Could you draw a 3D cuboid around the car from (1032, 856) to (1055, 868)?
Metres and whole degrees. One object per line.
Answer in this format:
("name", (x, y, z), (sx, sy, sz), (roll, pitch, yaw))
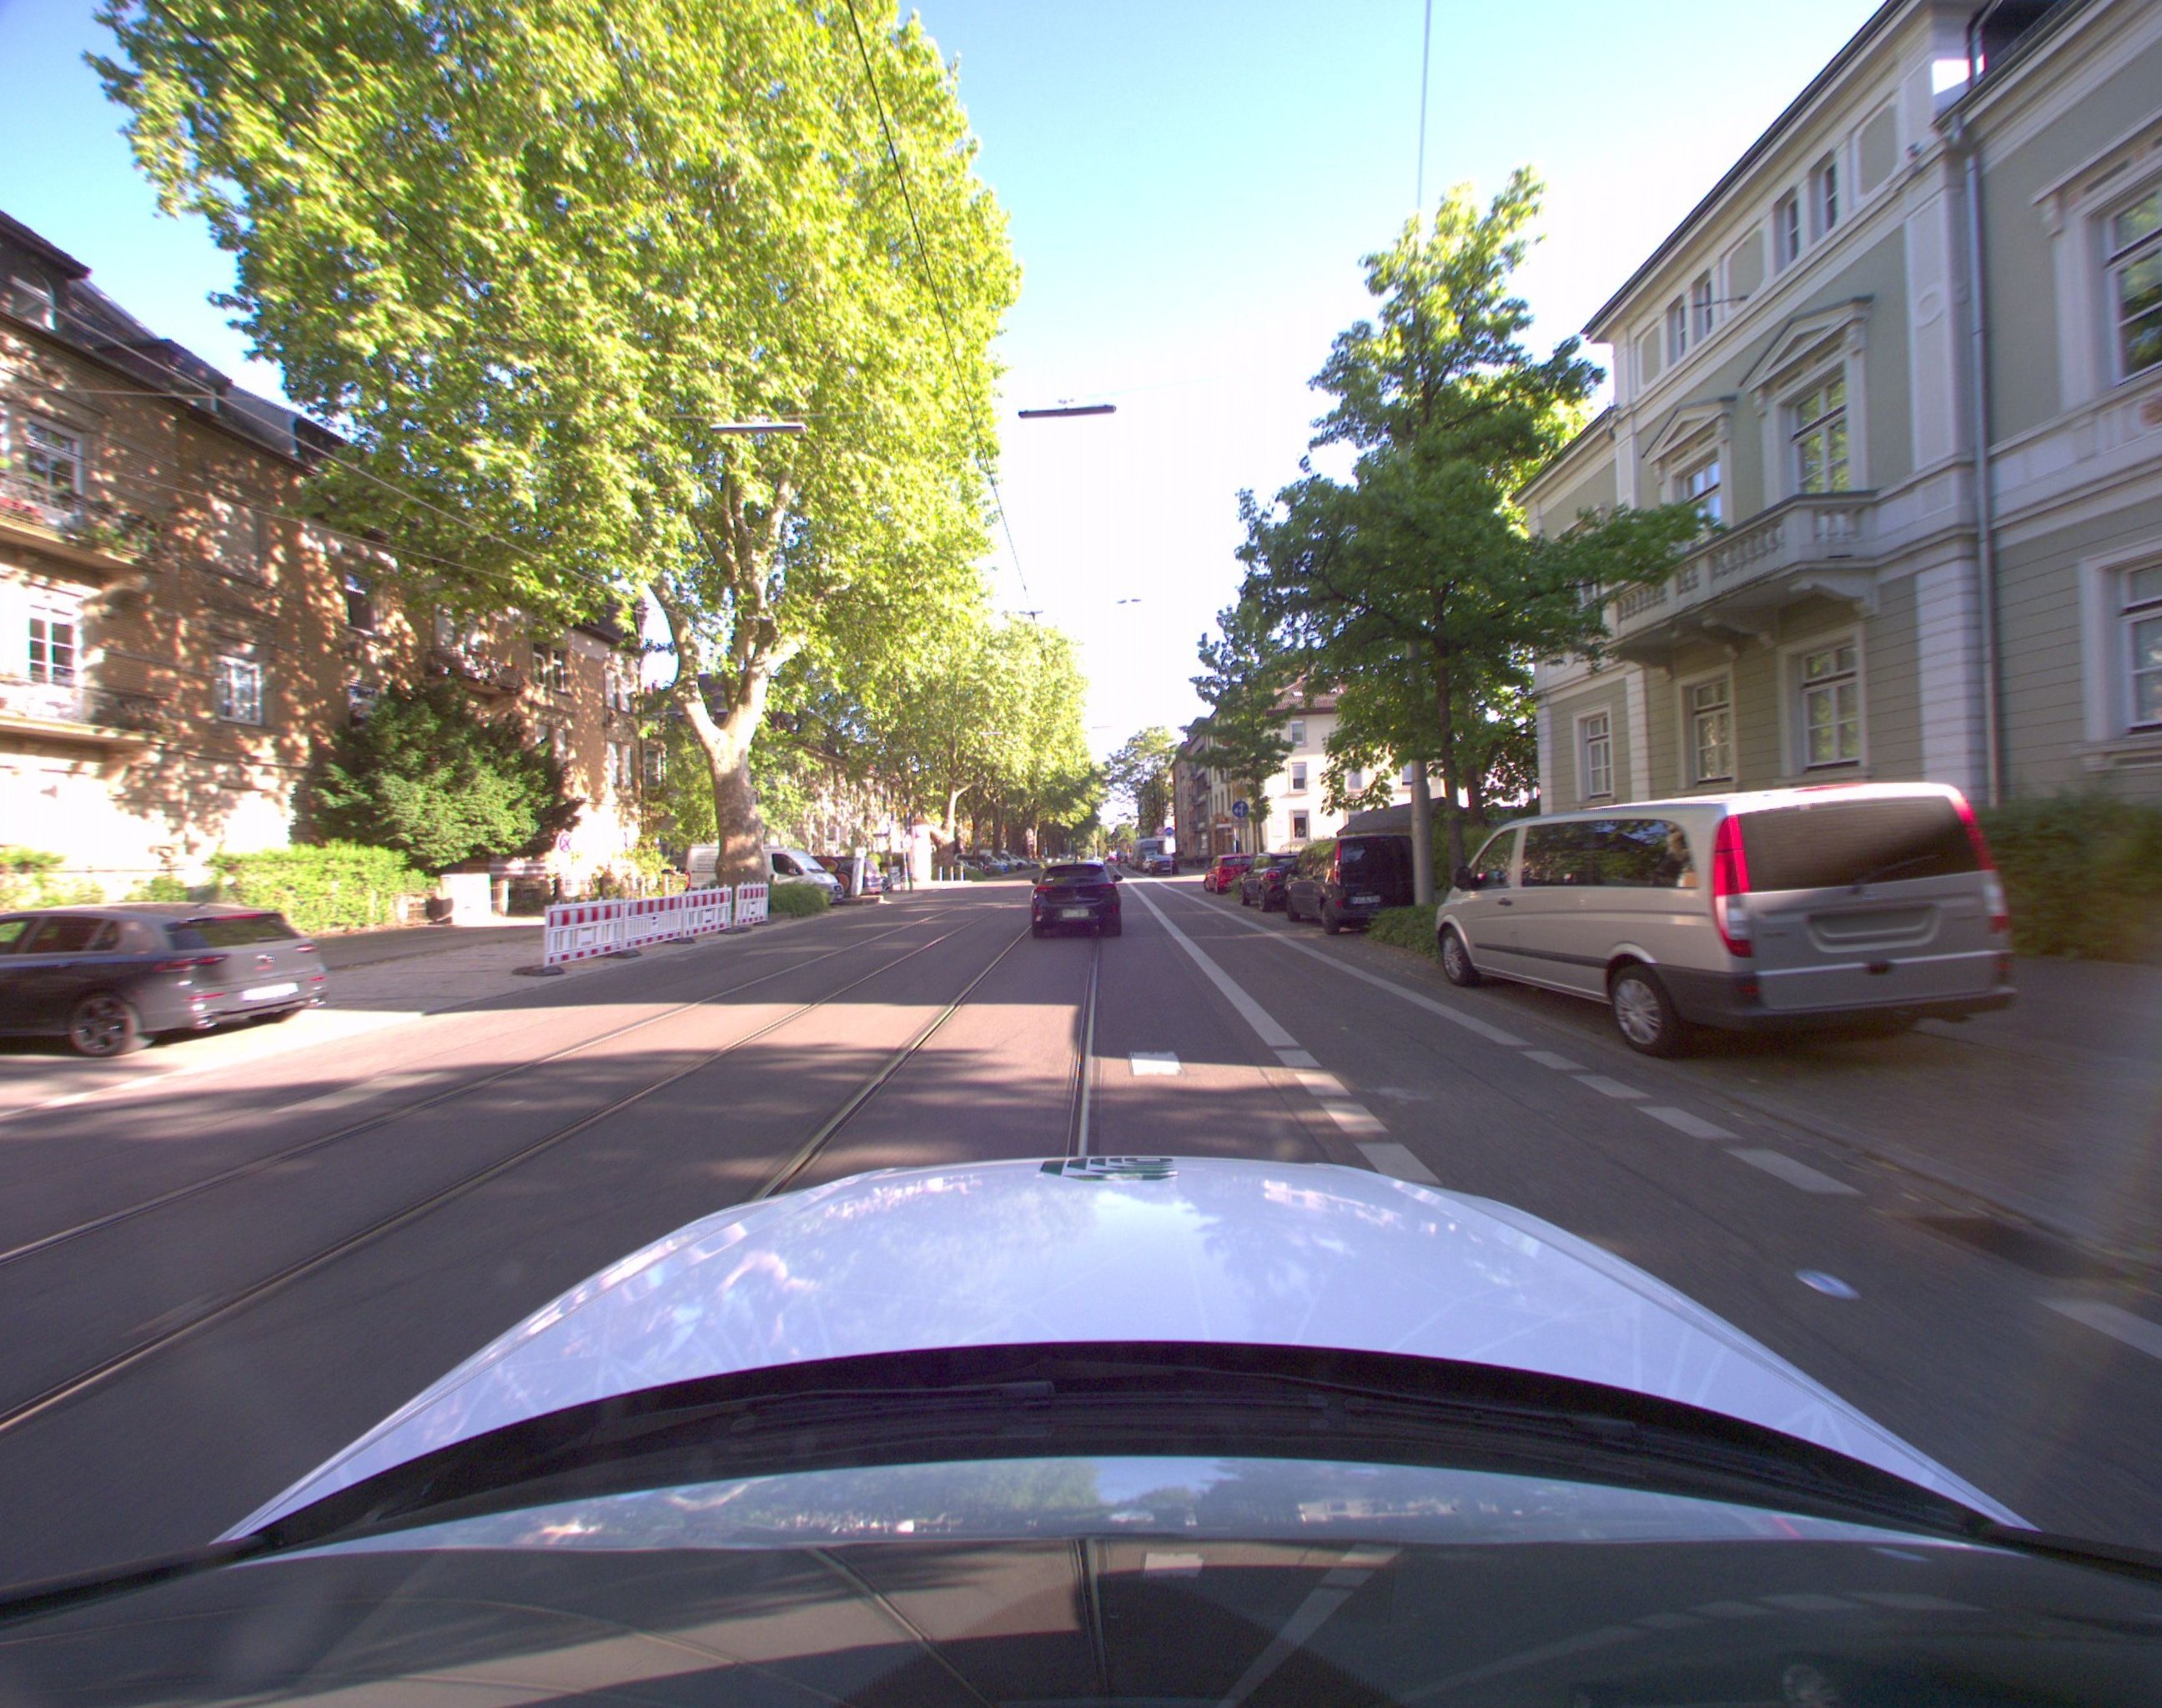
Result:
("car", (-6.858, 1.470, 149.720), (3.965, 2.014, 2.004), (-1, 0, 7))

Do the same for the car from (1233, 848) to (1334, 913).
("car", (5.453, 0.666, 22.424), (1.706, 1.514, 4.036), (-4, 0, 0))

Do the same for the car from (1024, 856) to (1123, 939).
("car", (-0.079, 0.796, 16.647), (1.757, 1.460, 3.952), (-1, 0, 2))

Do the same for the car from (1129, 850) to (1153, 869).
("car", (6.495, 0.604, 88.344), (2.246, 1.840, 5.532), (-3, 0, 1))

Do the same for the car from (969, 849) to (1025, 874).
("car", (-8.963, 0.780, 86.938), (5.612, 2.593, 2.199), (-1, -1, 5))

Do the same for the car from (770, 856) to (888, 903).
("car", (-10.540, 1.053, 34.300), (4.287, 1.801, 1.925), (-1, 0, -2))

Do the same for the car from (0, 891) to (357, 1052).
("car", (-10.744, 1.209, 8.904), (3.973, 1.465, 1.854), (-1, 0, 1))

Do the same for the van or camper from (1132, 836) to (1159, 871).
("van or camper", (6.372, -0.047, 81.149), (2.246, 3.216, 5.532), (-3, 0, 1))

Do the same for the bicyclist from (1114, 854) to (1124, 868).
("bicyclist", (4.045, 0.759, 87.178), (0.955, 1.499, 1.094), (-1, -1, 0))

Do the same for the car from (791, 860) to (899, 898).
("car", (-10.639, 1.109, 36.936), (4.287, 1.607, 1.925), (-1, 0, -2))

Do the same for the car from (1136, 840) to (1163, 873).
("car", (6.226, 0.197, 74.582), (2.077, 2.772, 4.699), (-3, 0, 1))

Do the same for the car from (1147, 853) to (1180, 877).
("car", (5.747, 0.760, 57.280), (1.877, 1.434, 4.531), (-4, 0, 1))

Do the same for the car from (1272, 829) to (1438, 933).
("car", (5.370, 0.491, 16.694), (1.879, 1.766, 4.679), (-2, 0, 1))

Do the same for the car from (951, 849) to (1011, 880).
("car", (-9.070, 0.957, 74.217), (5.018, 2.374, 2.082), (-5, -1, 1))

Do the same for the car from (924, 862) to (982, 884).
("car", (-9.897, 1.502, 63.163), (4.295, 1.290, 1.707), (-5, -1, -7))

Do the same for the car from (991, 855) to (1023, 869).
("car", (-9.823, 1.073, 107.732), (4.173, 1.794, 1.995), (-1, 0, -8))

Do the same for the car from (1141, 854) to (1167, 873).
("car", (5.996, 0.785, 67.376), (1.797, 1.434, 4.001), (-3, -1, 1))

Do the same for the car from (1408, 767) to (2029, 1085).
("car", (4.987, 0.463, 7.588), (1.877, 1.851, 4.969), (-4, 0, 1))

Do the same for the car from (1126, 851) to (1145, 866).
("car", (7.264, 0.602, 109.916), (2.246, 1.840, 5.532), (-3, 0, 1))

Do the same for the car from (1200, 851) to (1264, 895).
("car", (5.684, 0.693, 31.115), (1.696, 1.423, 3.979), (-5, 0, 1))

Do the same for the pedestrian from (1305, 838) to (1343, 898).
("pedestrian", (7.365, 0.413, 24.715), (0.826, 1.711, 0.836), (-4, 1, 3))

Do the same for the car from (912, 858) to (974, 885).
("car", (-10.236, 1.285, 60.623), (4.295, 1.593, 1.778), (-5, -1, -7))

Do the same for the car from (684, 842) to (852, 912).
("car", (-10.798, 0.781, 28.399), (5.020, 2.259, 2.084), (-1, 0, -2))

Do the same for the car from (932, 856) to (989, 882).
("car", (-9.593, 1.163, 65.195), (4.295, 1.674, 1.778), (-5, -1, -7))

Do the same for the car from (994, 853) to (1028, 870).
("car", (-8.609, 0.962, 100.131), (3.984, 2.014, 1.995), (-1, 0, -8))

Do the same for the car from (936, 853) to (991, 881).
("car", (-9.700, 1.067, 67.527), (4.295, 1.840, 1.778), (-5, -1, -7))

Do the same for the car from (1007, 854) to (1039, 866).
("car", (-8.066, 0.853, 113.249), (4.351, 1.665, 1.995), (-1, 0, -8))

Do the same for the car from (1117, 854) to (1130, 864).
("car", (7.893, 0.923, 151.398), (2.246, 1.840, 5.532), (-3, 0, 1))

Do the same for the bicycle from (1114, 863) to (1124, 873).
("bicycle", (4.060, 1.484, 87.195), (0.964, 0.999, 2.583), (-1, 0, 0))
